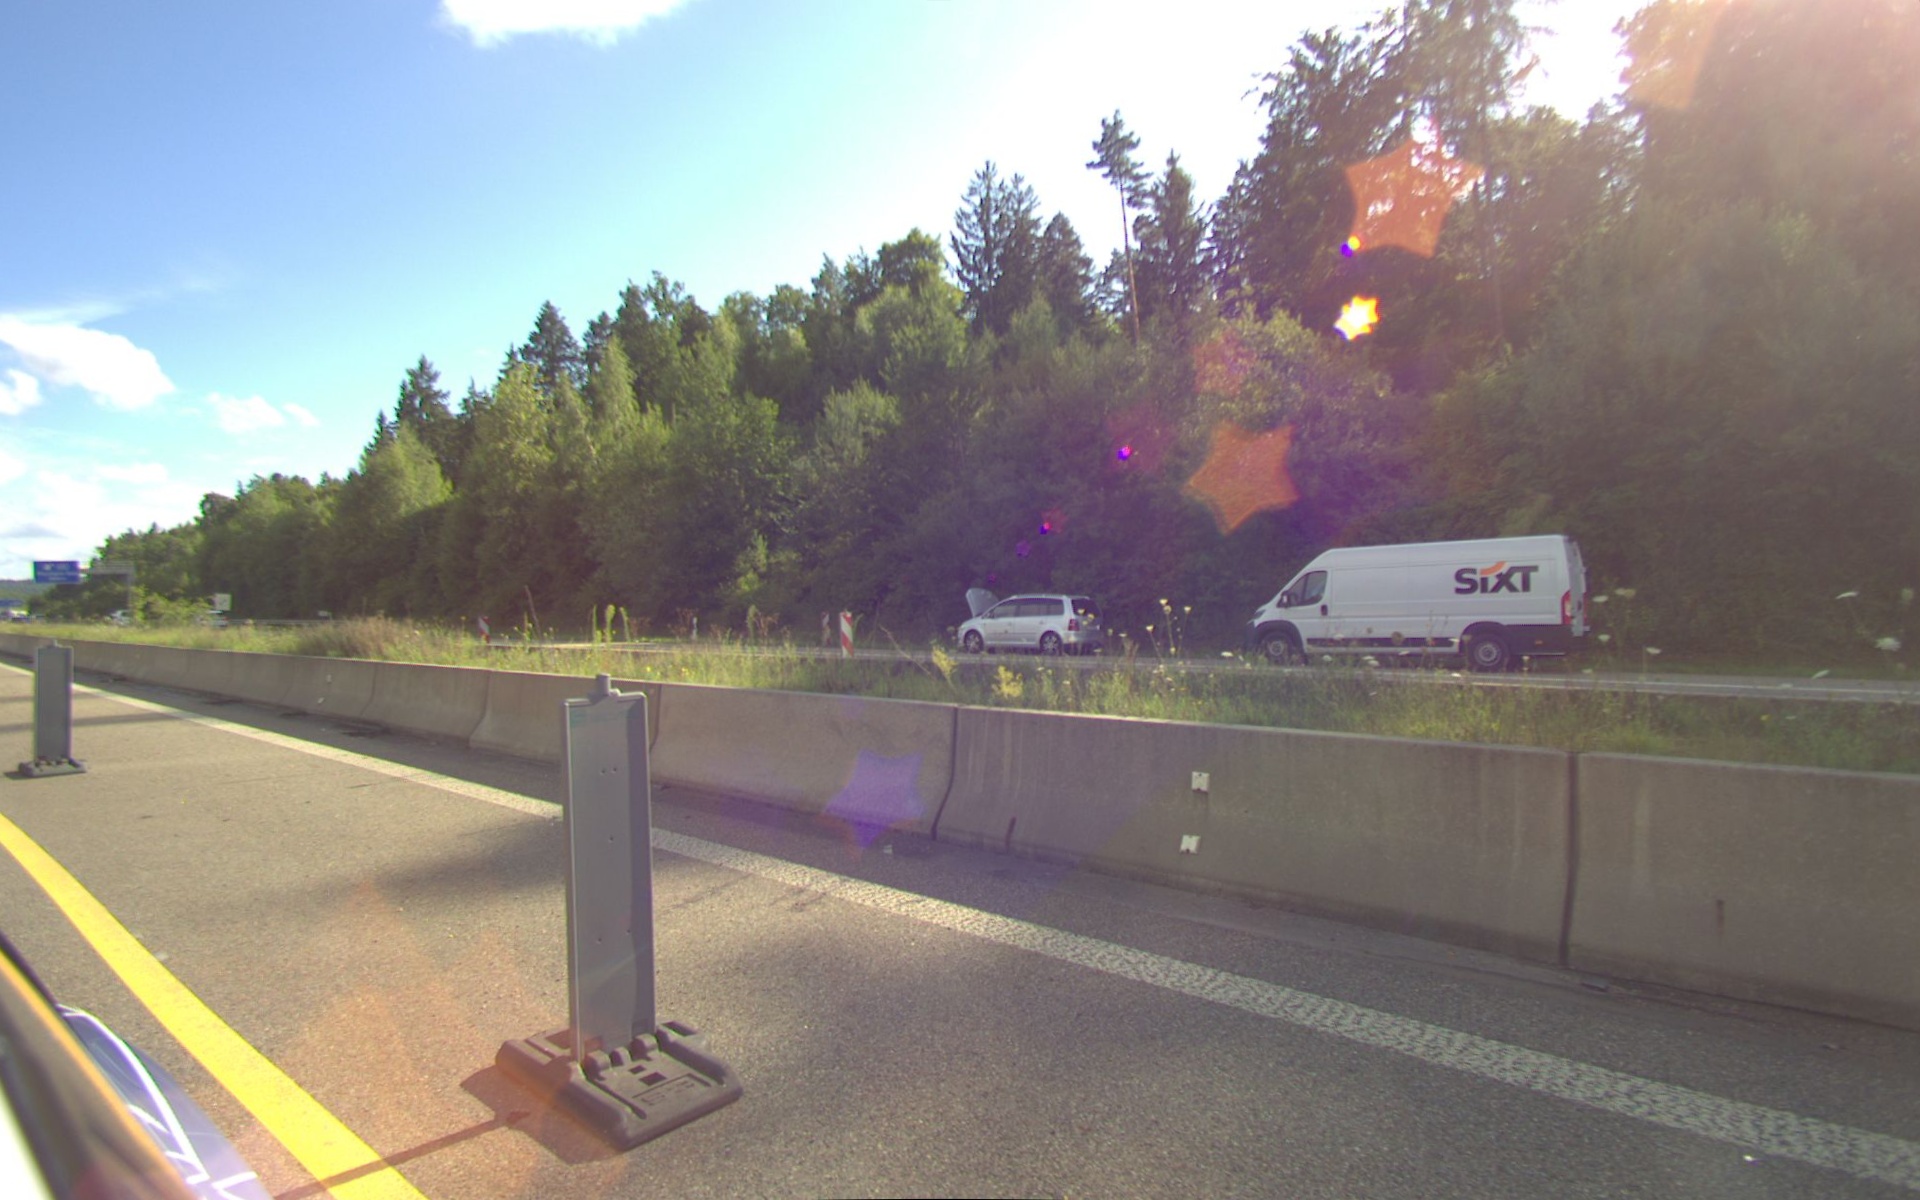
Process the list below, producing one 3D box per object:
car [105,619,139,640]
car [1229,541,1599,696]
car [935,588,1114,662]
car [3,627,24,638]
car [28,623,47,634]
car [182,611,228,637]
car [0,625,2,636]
[{"bbox_3d":[-78.489,2.736,94.782,4.363,1.799,1.759,-1,0,41],"label":"car"},{"bbox_3d":[8.942,0.342,20.501,6.520,2.705,2.007,-1,0,42],"label":"car"},{"bbox_3d":[1.683,0.645,27.710,4.760,1.867,1.841,-1,0,41],"label":"car"},{"bbox_3d":[-131.558,4.498,140.635,4.103,1.467,1.759,-1,0,41],"label":"car"},{"bbox_3d":[-148.387,4.548,162.835,4.615,1.701,1.759,-1,0,41],"label":"car"},{"bbox_3d":[-53.669,1.691,71.939,4.363,1.799,1.759,-1,0,41],"label":"car"},{"bbox_3d":[-180.164,5.703,188.810,4.615,1.917,1.759,-1,0,41],"label":"car"}]
